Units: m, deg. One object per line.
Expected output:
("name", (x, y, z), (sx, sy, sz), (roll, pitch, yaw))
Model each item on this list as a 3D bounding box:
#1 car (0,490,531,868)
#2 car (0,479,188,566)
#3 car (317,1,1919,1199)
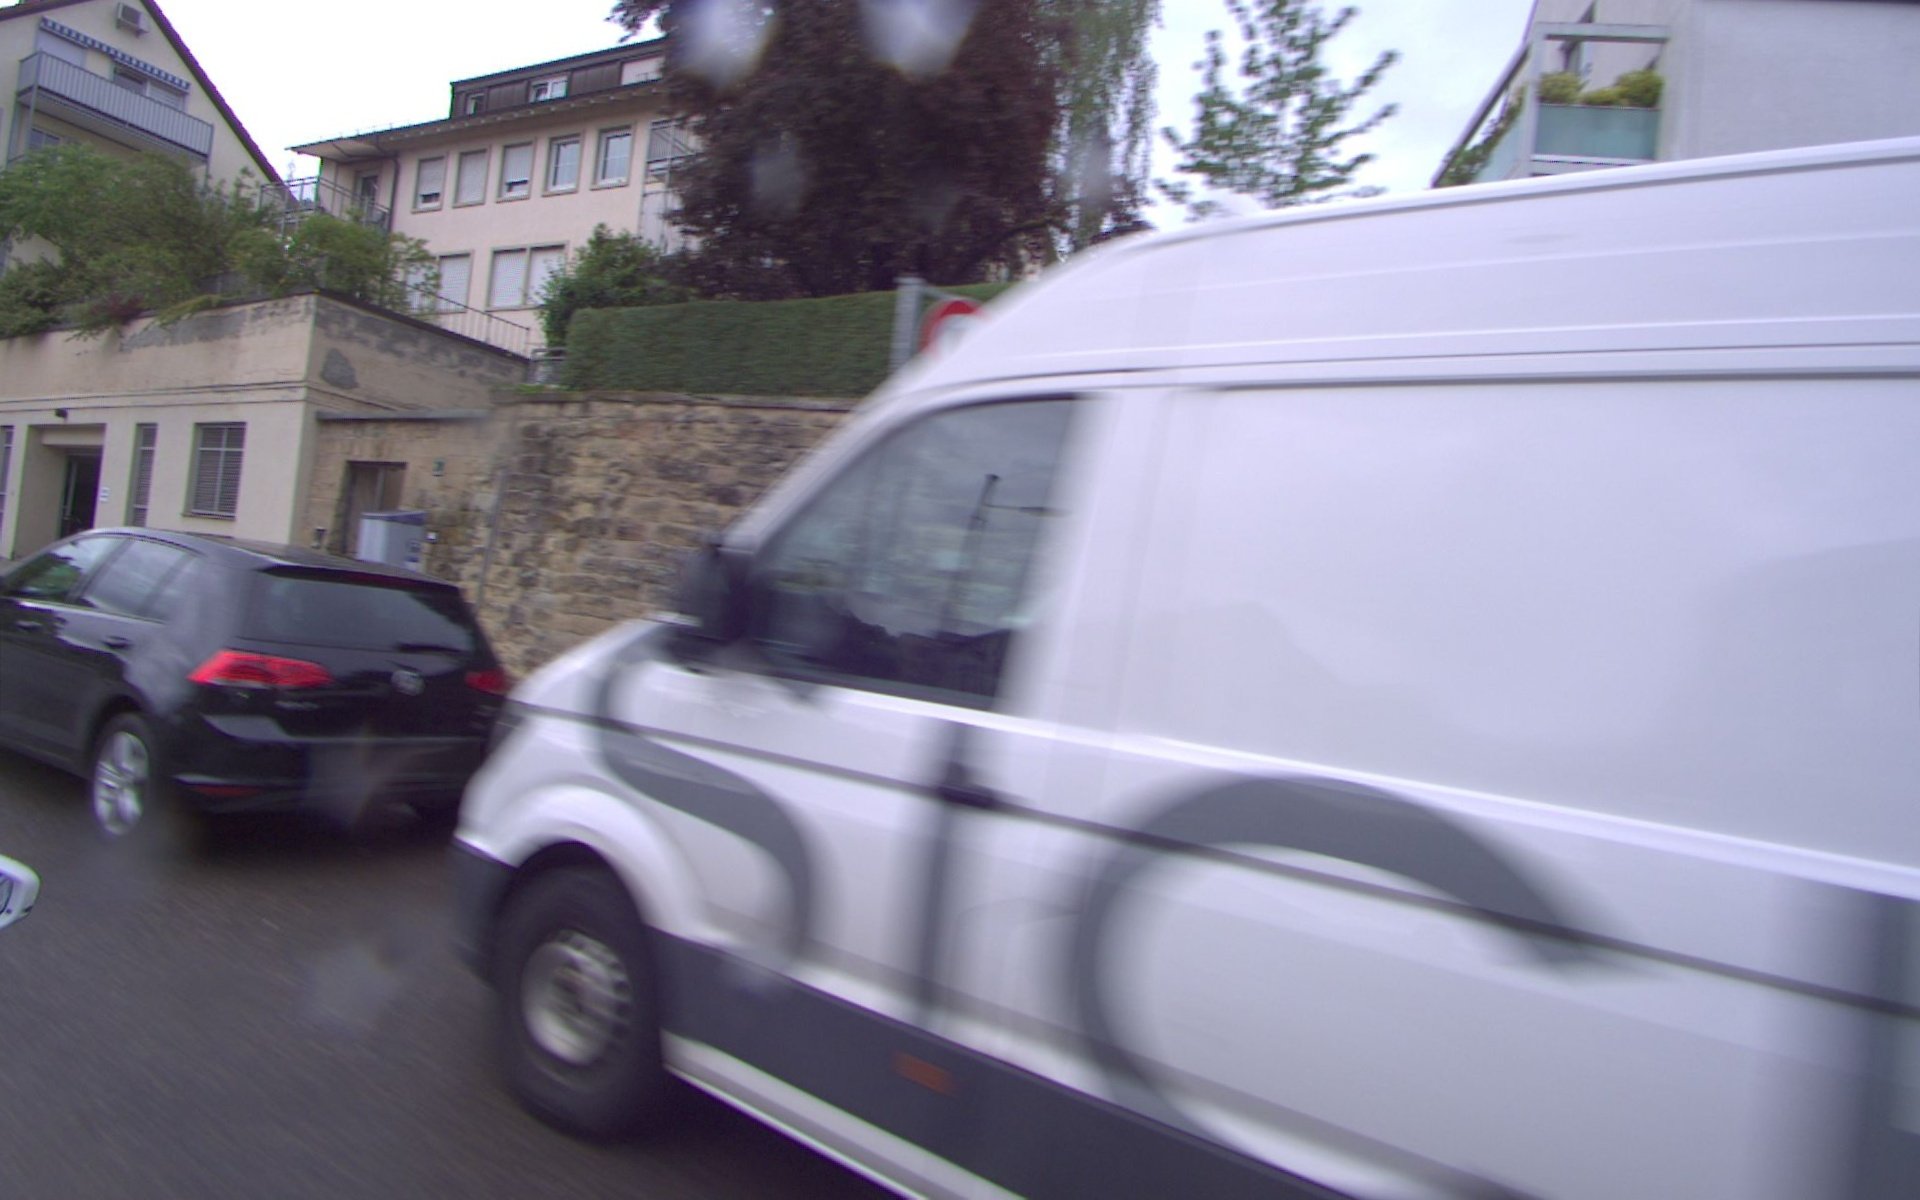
("car", (-4.716, 0.252, 6.036), (4.164, 1.470, 1.692), (8, -2, 31))
("car", (-19.676, -1.760, 22.779), (4.131, 1.417, 1.891), (7, -1, 29))
("car", (1.110, 0.440, 2.717), (5.979, 2.491, 2.210), (8, -2, 32))
